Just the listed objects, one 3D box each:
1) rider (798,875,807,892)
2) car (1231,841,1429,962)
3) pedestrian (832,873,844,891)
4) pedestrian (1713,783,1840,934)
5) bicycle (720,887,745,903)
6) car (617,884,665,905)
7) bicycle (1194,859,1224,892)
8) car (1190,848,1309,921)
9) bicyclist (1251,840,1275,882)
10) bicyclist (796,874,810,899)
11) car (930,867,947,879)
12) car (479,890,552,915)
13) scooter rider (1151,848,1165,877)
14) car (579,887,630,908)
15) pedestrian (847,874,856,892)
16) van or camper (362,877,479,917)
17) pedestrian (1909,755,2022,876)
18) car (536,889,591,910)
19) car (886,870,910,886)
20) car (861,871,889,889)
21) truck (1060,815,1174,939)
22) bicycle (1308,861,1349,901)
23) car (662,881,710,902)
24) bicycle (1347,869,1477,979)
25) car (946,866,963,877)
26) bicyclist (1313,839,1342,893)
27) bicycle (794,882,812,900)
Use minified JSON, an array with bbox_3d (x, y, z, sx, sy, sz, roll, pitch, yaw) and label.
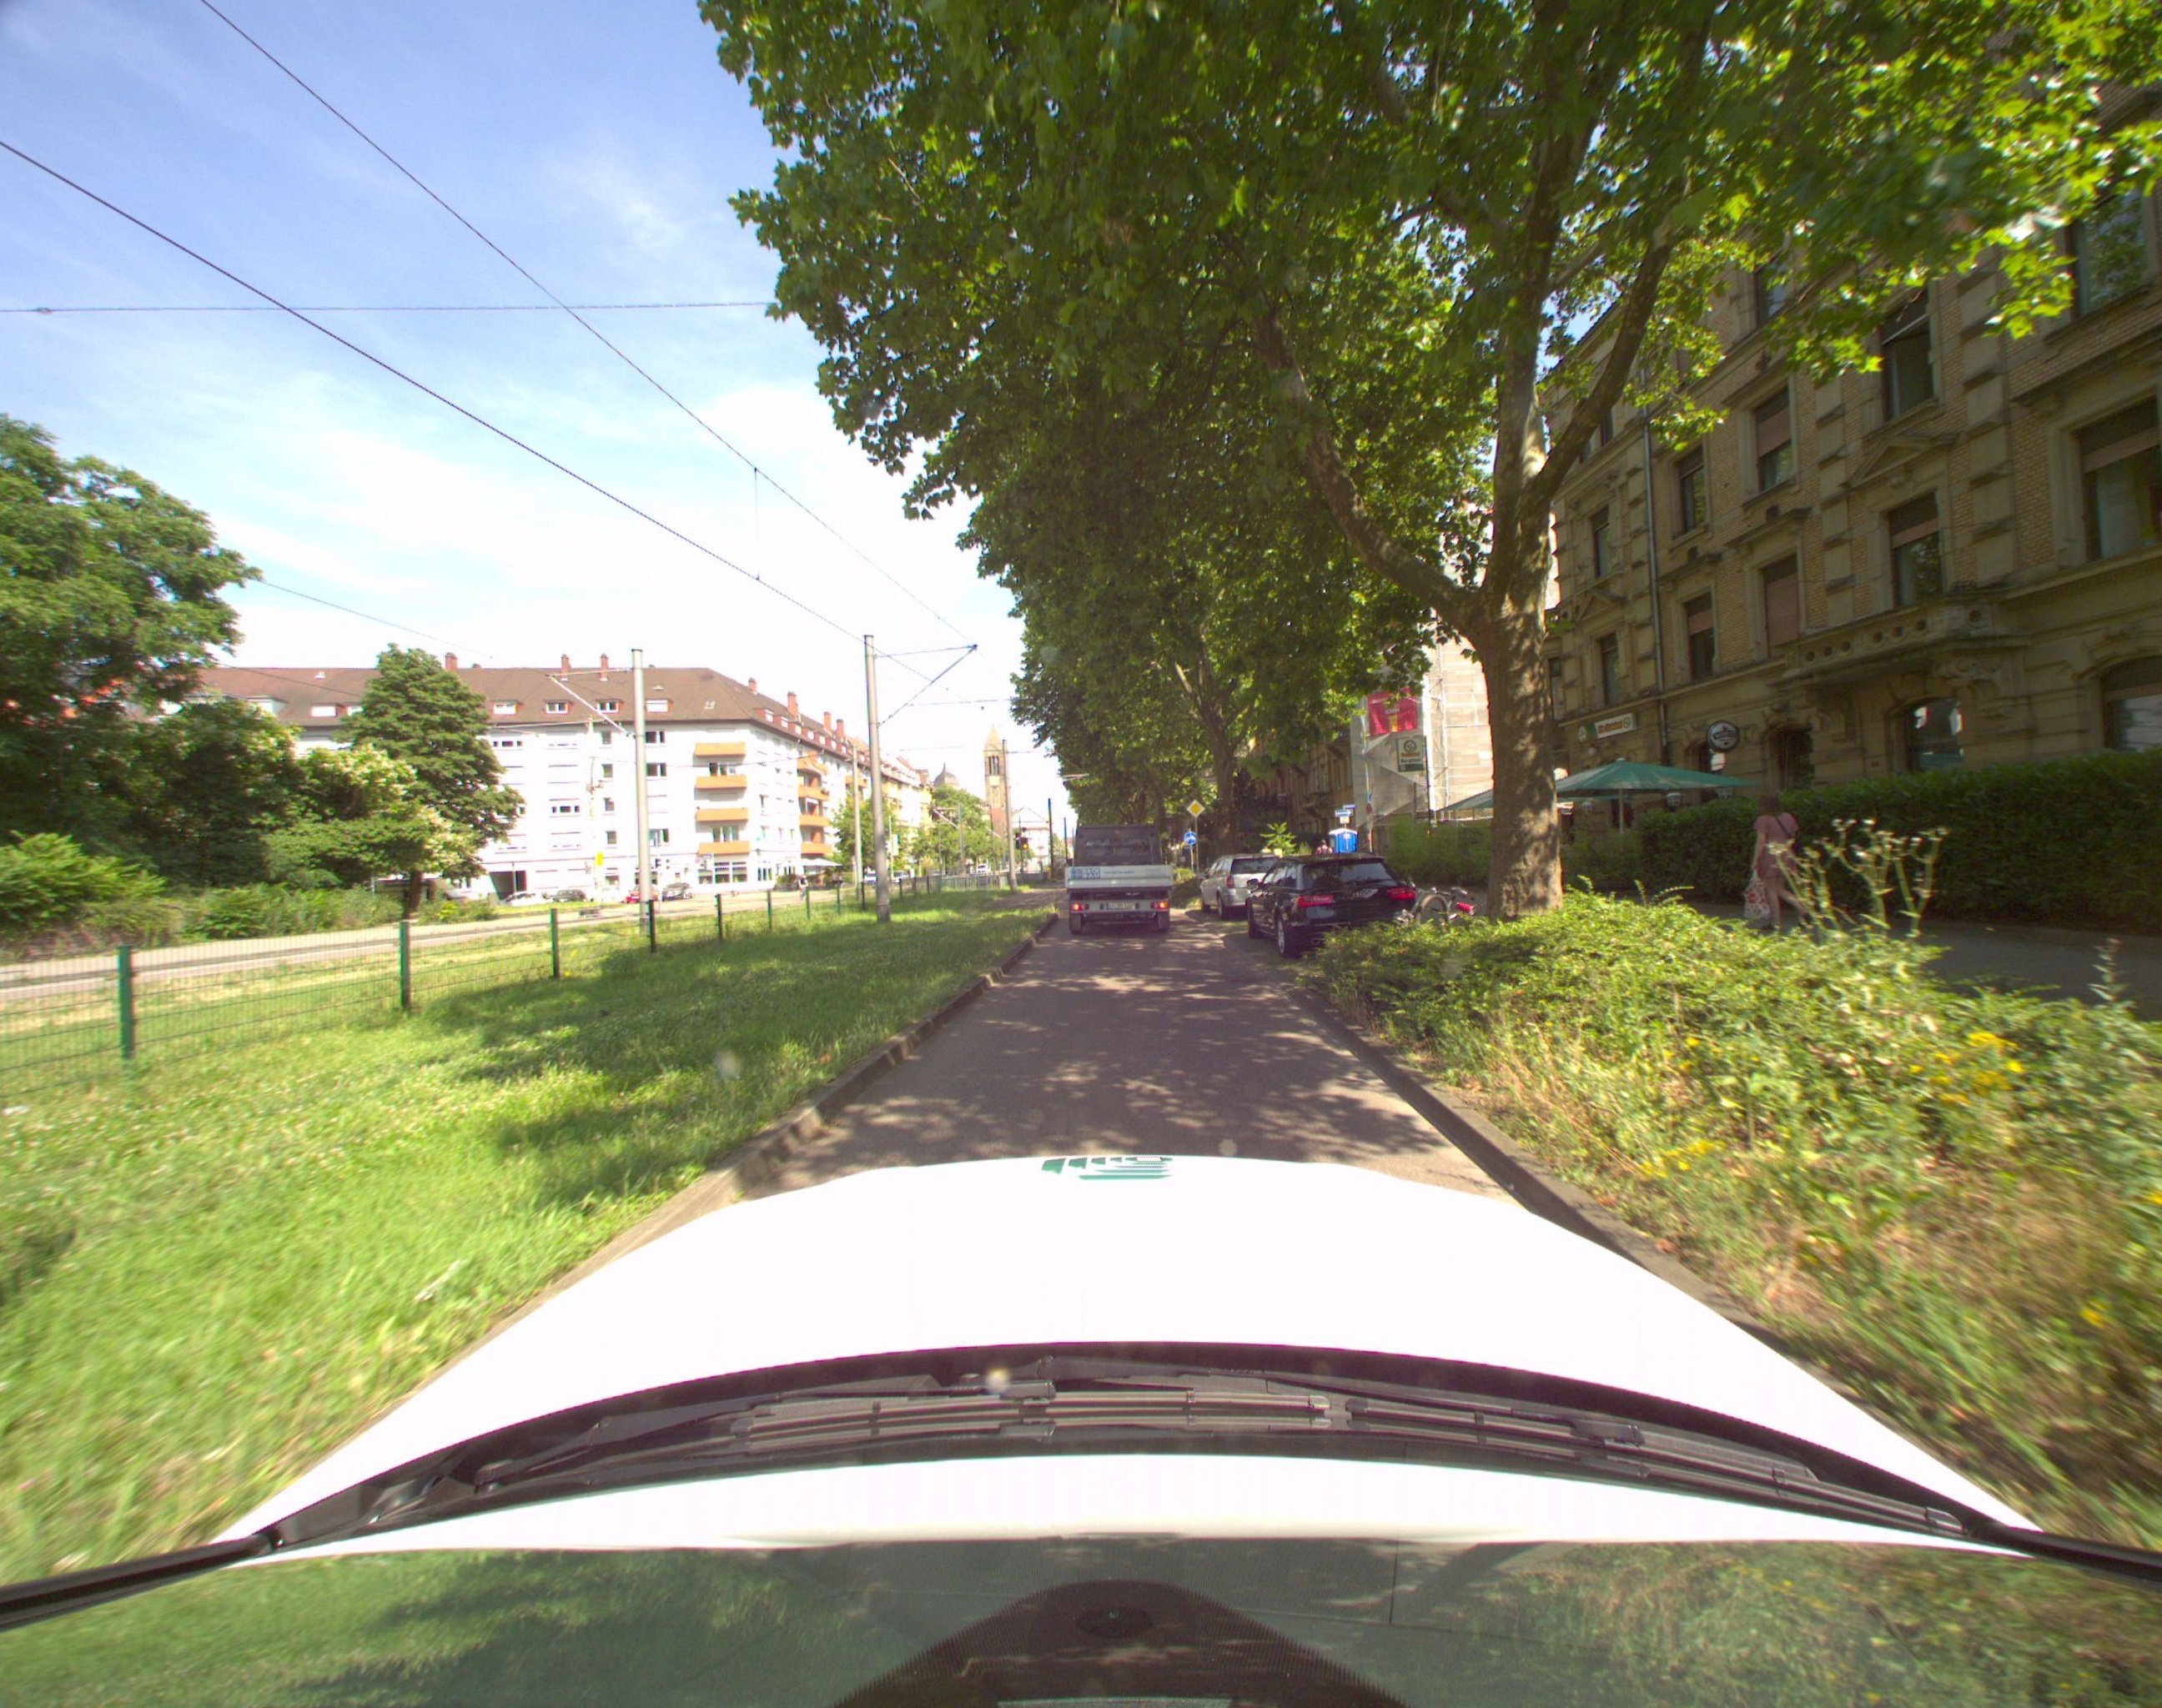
[{"bbox_3d":[-24.061,2.566,70.426,0.624,1.423,0.587,-3,-1,-16],"label":"rider"},{"bbox_3d":[3.740,0.641,13.165,1.826,1.508,4.645,-3,0,2],"label":"car"},{"bbox_3d":[-22.058,2.546,73.894,0.861,1.572,0.685,-3,-1,-23],"label":"pedestrian"},{"bbox_3d":[8.836,0.058,10.381,0.733,1.785,0.852,-5,-1,1],"label":"pedestrian"},{"bbox_3d":[-28.917,3.401,67.593,0.908,1.137,2.806,-3,0,-2],"label":"bicycle"},{"bbox_3d":[-35.343,3.197,65.503,1.930,1.406,4.157,-3,0,-6],"label":"car"},{"bbox_3d":[4.658,0.771,29.595,0.417,1.105,1.627,-4,-1,31],"label":"bicycle"},{"bbox_3d":[4.058,0.698,20.364,1.829,1.508,4.488,-3,0,-2],"label":"car"},{"bbox_3d":[7.055,0.257,31.587,0.678,1.563,0.777,-3,-1,2],"label":"bicyclist"},{"bbox_3d":[-18.351,2.136,53.708,0.621,1.623,0.694,-3,-1,-4],"label":"bicyclist"},{"bbox_3d":[-18.812,2.496,107.883,1.767,1.498,3.993,-3,0,-4],"label":"car"},{"bbox_3d":[-39.623,3.355,57.127,3.749,1.406,1.824,-3,-1,-16],"label":"car"},{"bbox_3d":[5.046,0.549,53.286,0.656,1.867,0.673,-4,-1,25],"label":"scooter rider"},{"bbox_3d":[-38.122,3.428,65.308,1.930,1.406,4.157,-3,0,-6],"label":"car"},{"bbox_3d":[-20.908,2.654,74.102,0.691,1.572,0.542,-3,-1,-23],"label":"pedestrian"},{"bbox_3d":[-45.295,2.923,55.998,5.762,2.329,2.235,-3,-1,-12],"label":"van or camper"},{"bbox_3d":[13.812,-0.581,12.735,0.849,1.785,0.737,-5,-1,-7],"label":"pedestrian"},{"bbox_3d":[-40.665,3.535,64.080,1.930,1.406,4.157,-3,0,-6],"label":"car"},{"bbox_3d":[-19.329,2.528,86.242,1.767,1.498,3.993,-5,0,-4],"label":"car"},{"bbox_3d":[-19.573,2.471,77.553,1.767,1.498,3.993,-5,0,-4],"label":"car"},{"bbox_3d":[0.779,0.454,17.743,2.130,2.319,4.404,-1,0,2],"label":"truck"},{"bbox_3d":[7.417,0.792,24.515,0.563,1.112,2.312,-3,0,2],"label":"bicycle"},{"bbox_3d":[-31.992,3.017,66.108,1.830,1.376,4.636,-3,0,-4],"label":"car"},{"bbox_3d":[3.809,0.765,9.325,1.644,1.088,0.467,-3,-1,-33],"label":"bicycle"},{"bbox_3d":[-18.781,2.605,121.251,1.765,1.498,3.999,-3,0,0],"label":"car"},{"bbox_3d":[7.373,0.352,24.395,0.635,1.573,0.580,-3,-1,2],"label":"bicyclist"},{"bbox_3d":[-18.321,2.425,53.693,0.530,1.049,1.923,-5,-1,-4],"label":"bicycle"}]
